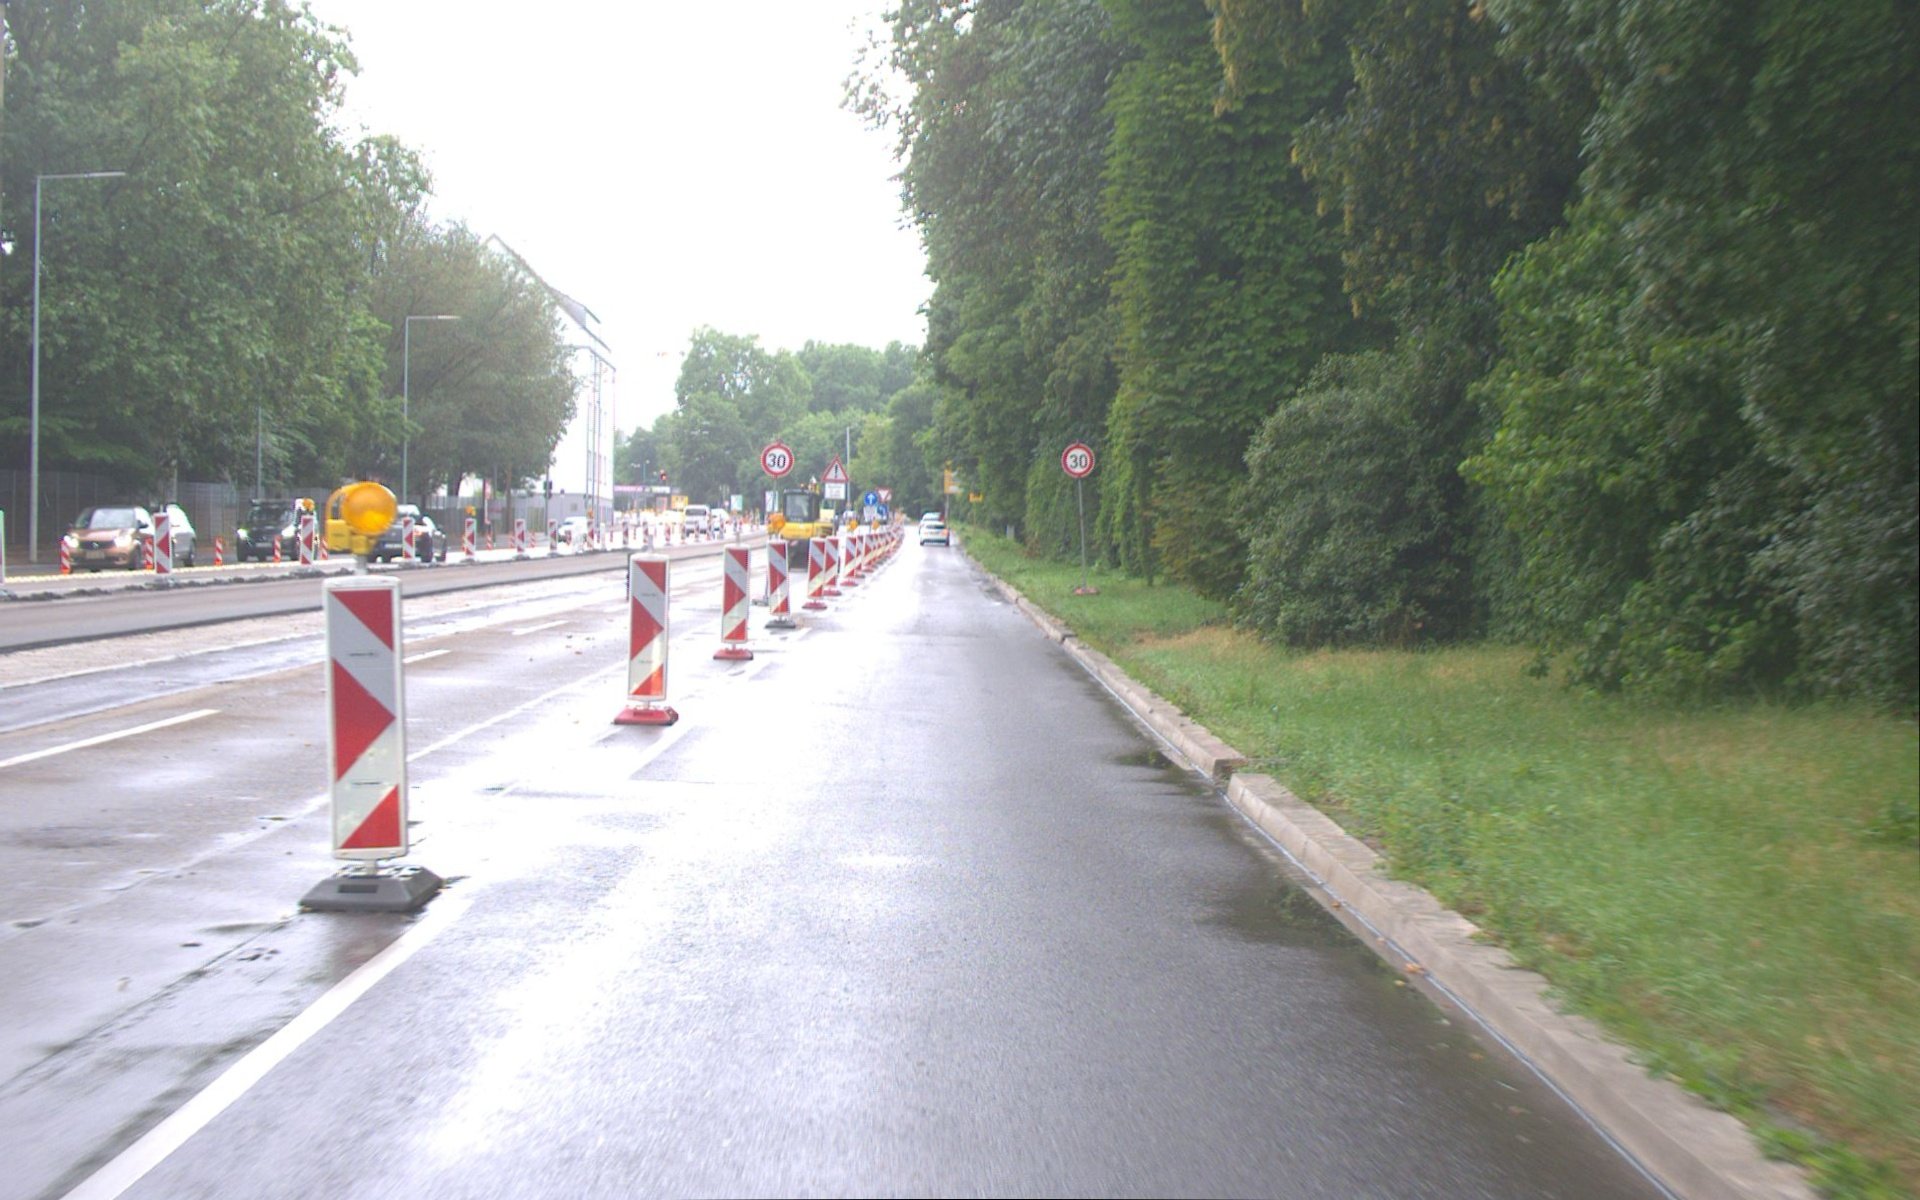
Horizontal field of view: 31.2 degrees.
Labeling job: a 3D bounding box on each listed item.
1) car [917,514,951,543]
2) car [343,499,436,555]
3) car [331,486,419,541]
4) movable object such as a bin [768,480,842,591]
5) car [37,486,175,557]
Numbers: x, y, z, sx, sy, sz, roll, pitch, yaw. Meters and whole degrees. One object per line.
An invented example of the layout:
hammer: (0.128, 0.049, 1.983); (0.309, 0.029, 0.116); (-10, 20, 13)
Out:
car: (-1.570, -4.363, 210.387); (1.993, 1.667, 4.000); (2, 1, 0)
car: (-16.411, -2.080, 99.054); (1.993, 1.514, 4.000); (2, 1, -1)
car: (-20.099, -2.959, 118.314); (1.993, 1.774, 4.954); (2, 1, 1)
movable object such as a bin: (-4.891, -2.034, 109.298); (1.993, 3.356, 5.982); (2, 1, 0)
car: (-19.233, -1.746, 77.615); (1.894, 1.497, 4.516); (2, 1, 1)
